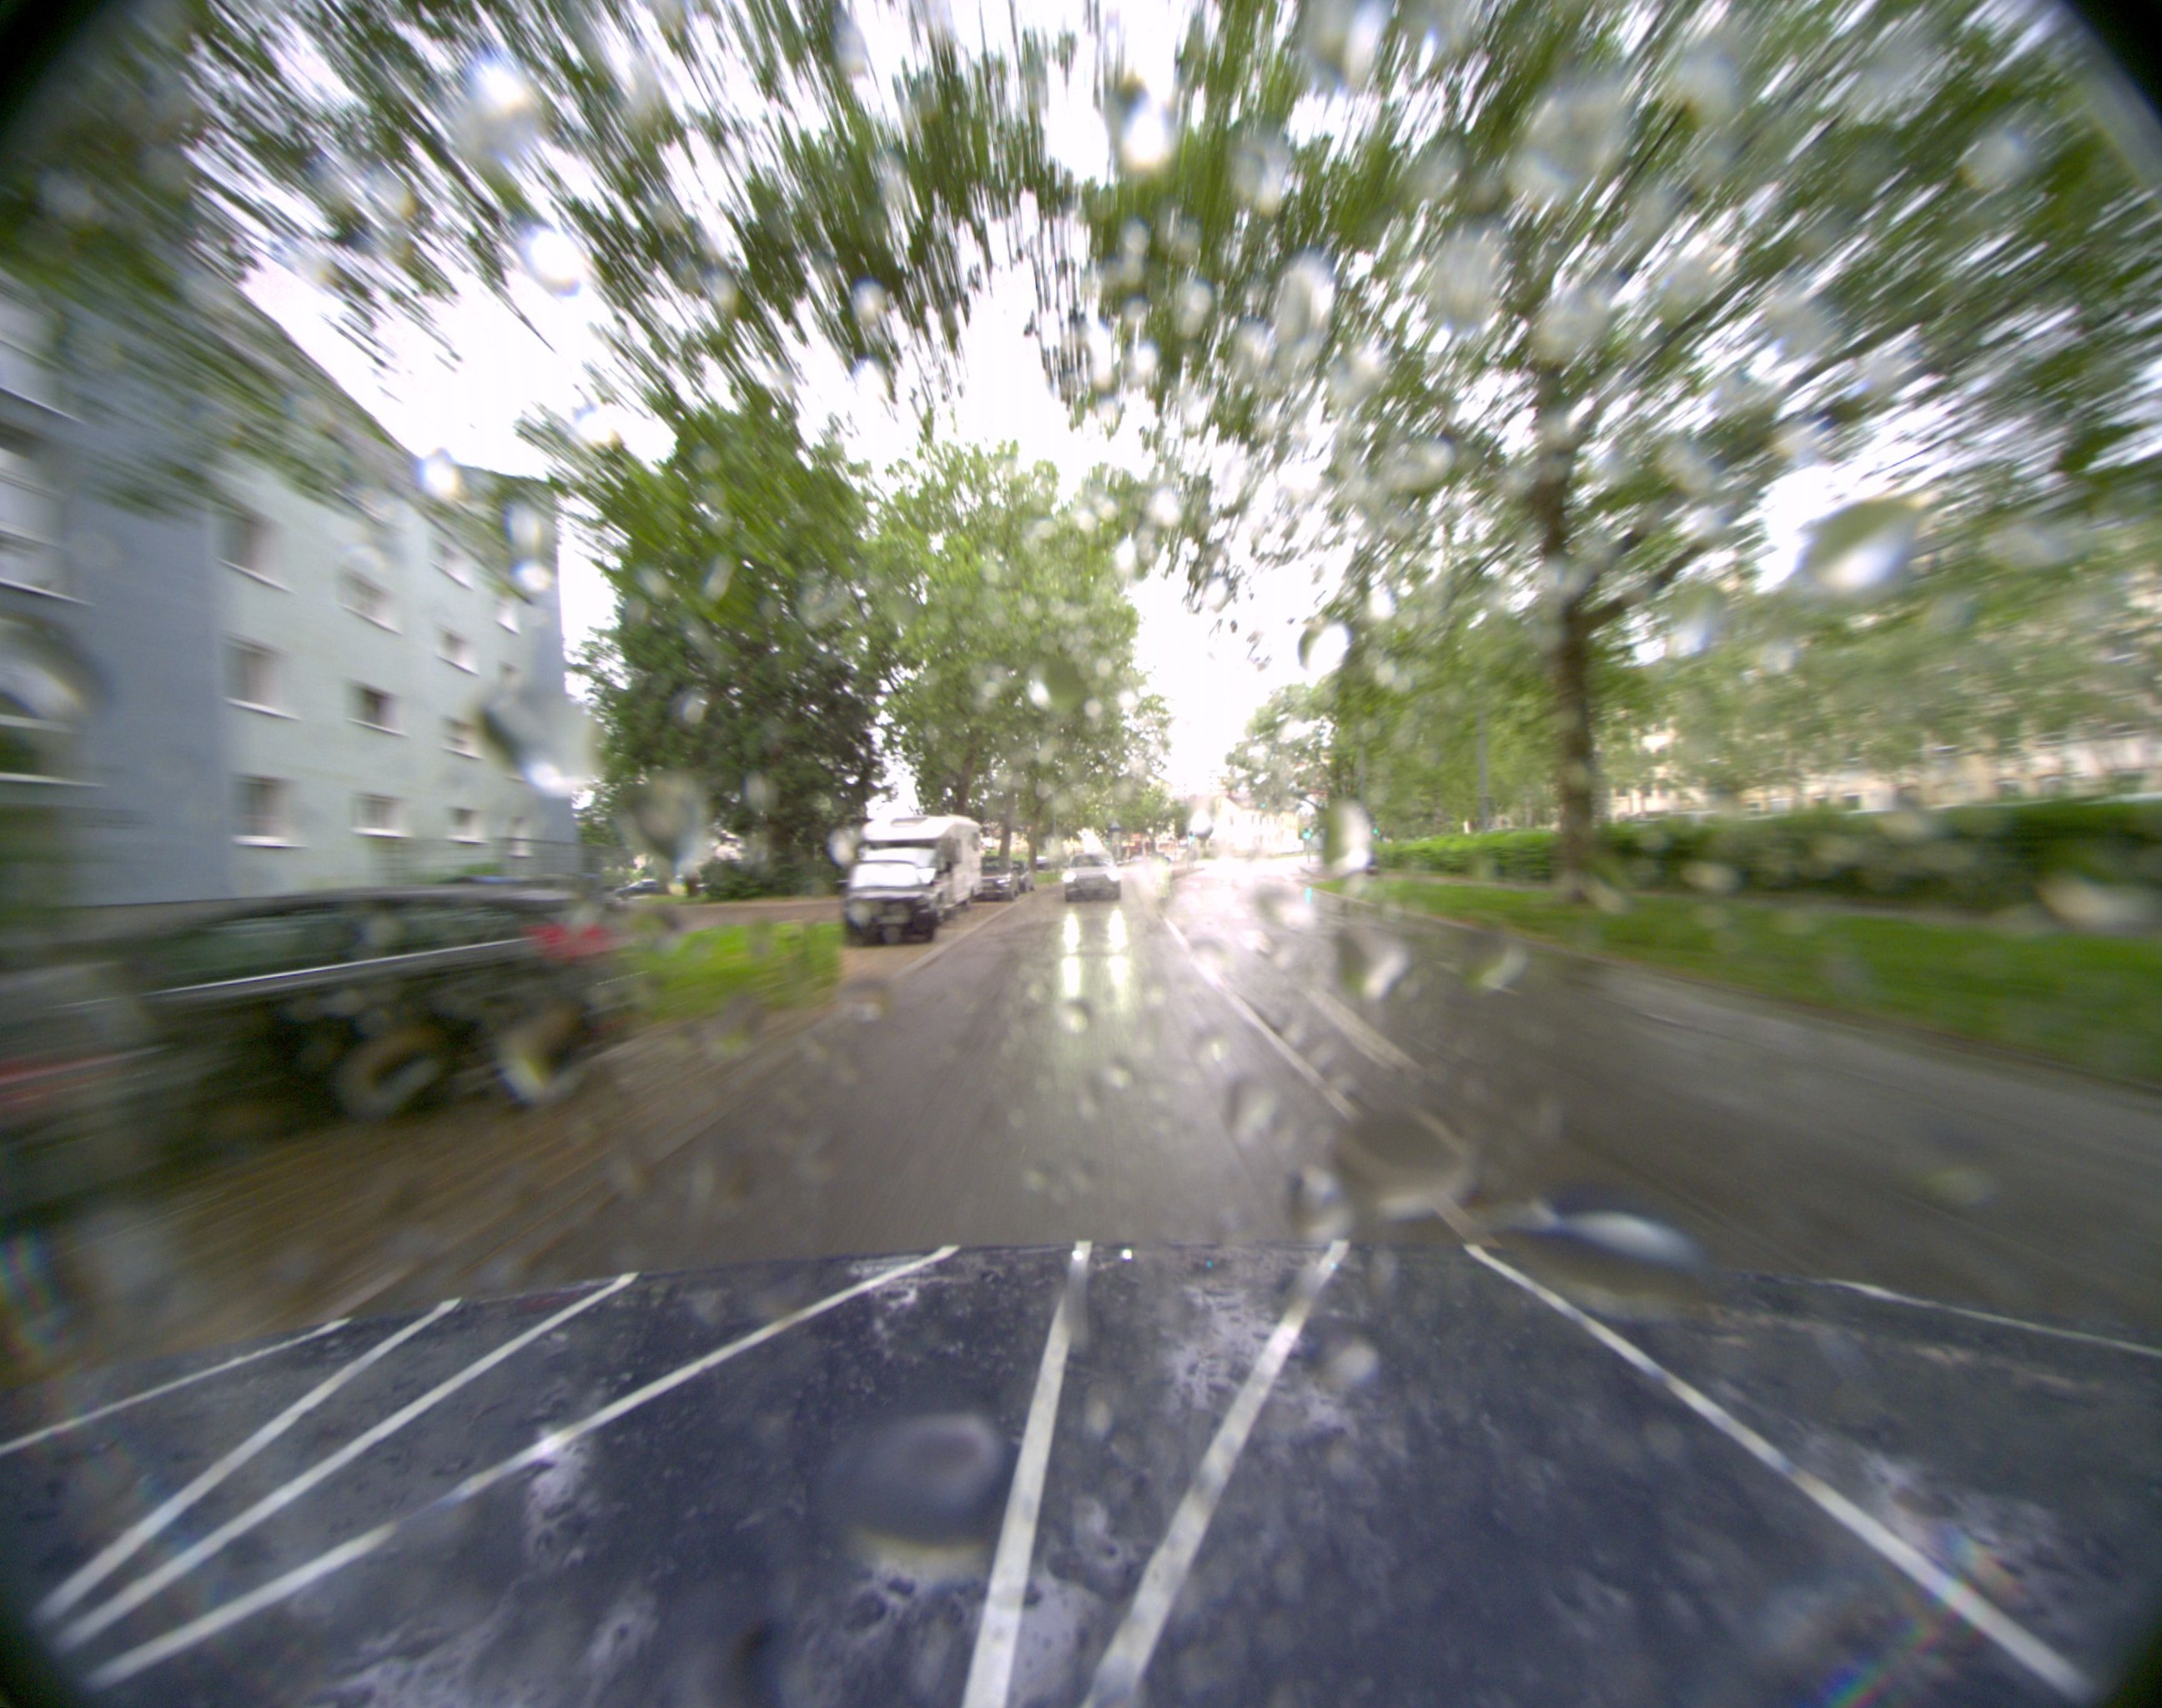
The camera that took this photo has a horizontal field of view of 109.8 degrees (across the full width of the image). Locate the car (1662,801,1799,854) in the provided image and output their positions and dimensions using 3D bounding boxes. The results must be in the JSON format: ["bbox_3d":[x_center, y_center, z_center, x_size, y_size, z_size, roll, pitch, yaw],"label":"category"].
[{"bbox_3d":[26.360,-1.048,30.909,3.998,1.822,1.854,-4,0,-3],"label":"car"}]

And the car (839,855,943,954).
[{"bbox_3d":[-3.785,0.922,15.052,1.693,1.643,2.943,-4,0,-16],"label":"car"}]

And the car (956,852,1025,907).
[{"bbox_3d":[-3.193,0.837,27.593,1.920,1.611,4.452,-4,2,-1],"label":"car"}]

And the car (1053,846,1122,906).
[{"bbox_3d":[0.305,0.665,24.967,1.960,1.701,4.175,-4,0,3],"label":"car"}]

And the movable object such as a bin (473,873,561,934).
[{"bbox_3d":[-14.684,1.252,19.863,1.217,1.424,1.860,-4,0,-17],"label":"movable object such as a bin"}]

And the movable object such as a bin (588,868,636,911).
[{"bbox_3d":[-16.522,1.227,26.796,1.163,1.464,1.221,0,-1,-18],"label":"movable object such as a bin"}]

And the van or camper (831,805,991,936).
[{"bbox_3d":[-4.181,0.337,20.301,2.324,2.791,6.864,-3,0,2],"label":"van or camper"}]

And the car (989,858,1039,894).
[{"bbox_3d":[-2.863,0.919,33.251,1.552,1.382,4.150,-4,0,3],"label":"car"}]

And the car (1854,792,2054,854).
[{"bbox_3d":[27.155,-0.927,23.739,3.997,1.589,1.854,-4,0,1],"label":"car"}]

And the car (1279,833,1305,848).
[{"bbox_3d":[35.667,-2.324,128.512,2.190,2.242,4.893,-3,0,41],"label":"car"}]

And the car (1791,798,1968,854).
[{"bbox_3d":[27.120,-0.909,25.919,3.997,1.589,1.854,-4,0,1],"label":"car"}]

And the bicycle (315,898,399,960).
[{"bbox_3d":[-14.864,1.515,15.650,0.393,1.076,1.667,-2,2,-12],"label":"bicycle"}]

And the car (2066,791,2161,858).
[{"bbox_3d":[27.003,-0.809,18.252,3.996,1.542,1.886,-3,1,3],"label":"car"}]

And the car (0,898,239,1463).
[{"bbox_3d":[-5.135,1.073,1.637,4.005,1.592,1.799,-4,0,-29],"label":"car"}]

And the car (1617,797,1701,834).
[{"bbox_3d":[58.059,-3.829,76.433,6.212,3.175,2.838,-4,0,-2],"label":"car"}]

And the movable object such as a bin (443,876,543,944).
[{"bbox_3d":[-13.955,1.298,18.126,1.217,1.424,1.860,-4,0,-17],"label":"movable object such as a bin"}]

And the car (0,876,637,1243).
[{"bbox_3d":[-5.067,1.069,4.804,3.774,1.592,1.799,-4,0,-29],"label":"car"}]
